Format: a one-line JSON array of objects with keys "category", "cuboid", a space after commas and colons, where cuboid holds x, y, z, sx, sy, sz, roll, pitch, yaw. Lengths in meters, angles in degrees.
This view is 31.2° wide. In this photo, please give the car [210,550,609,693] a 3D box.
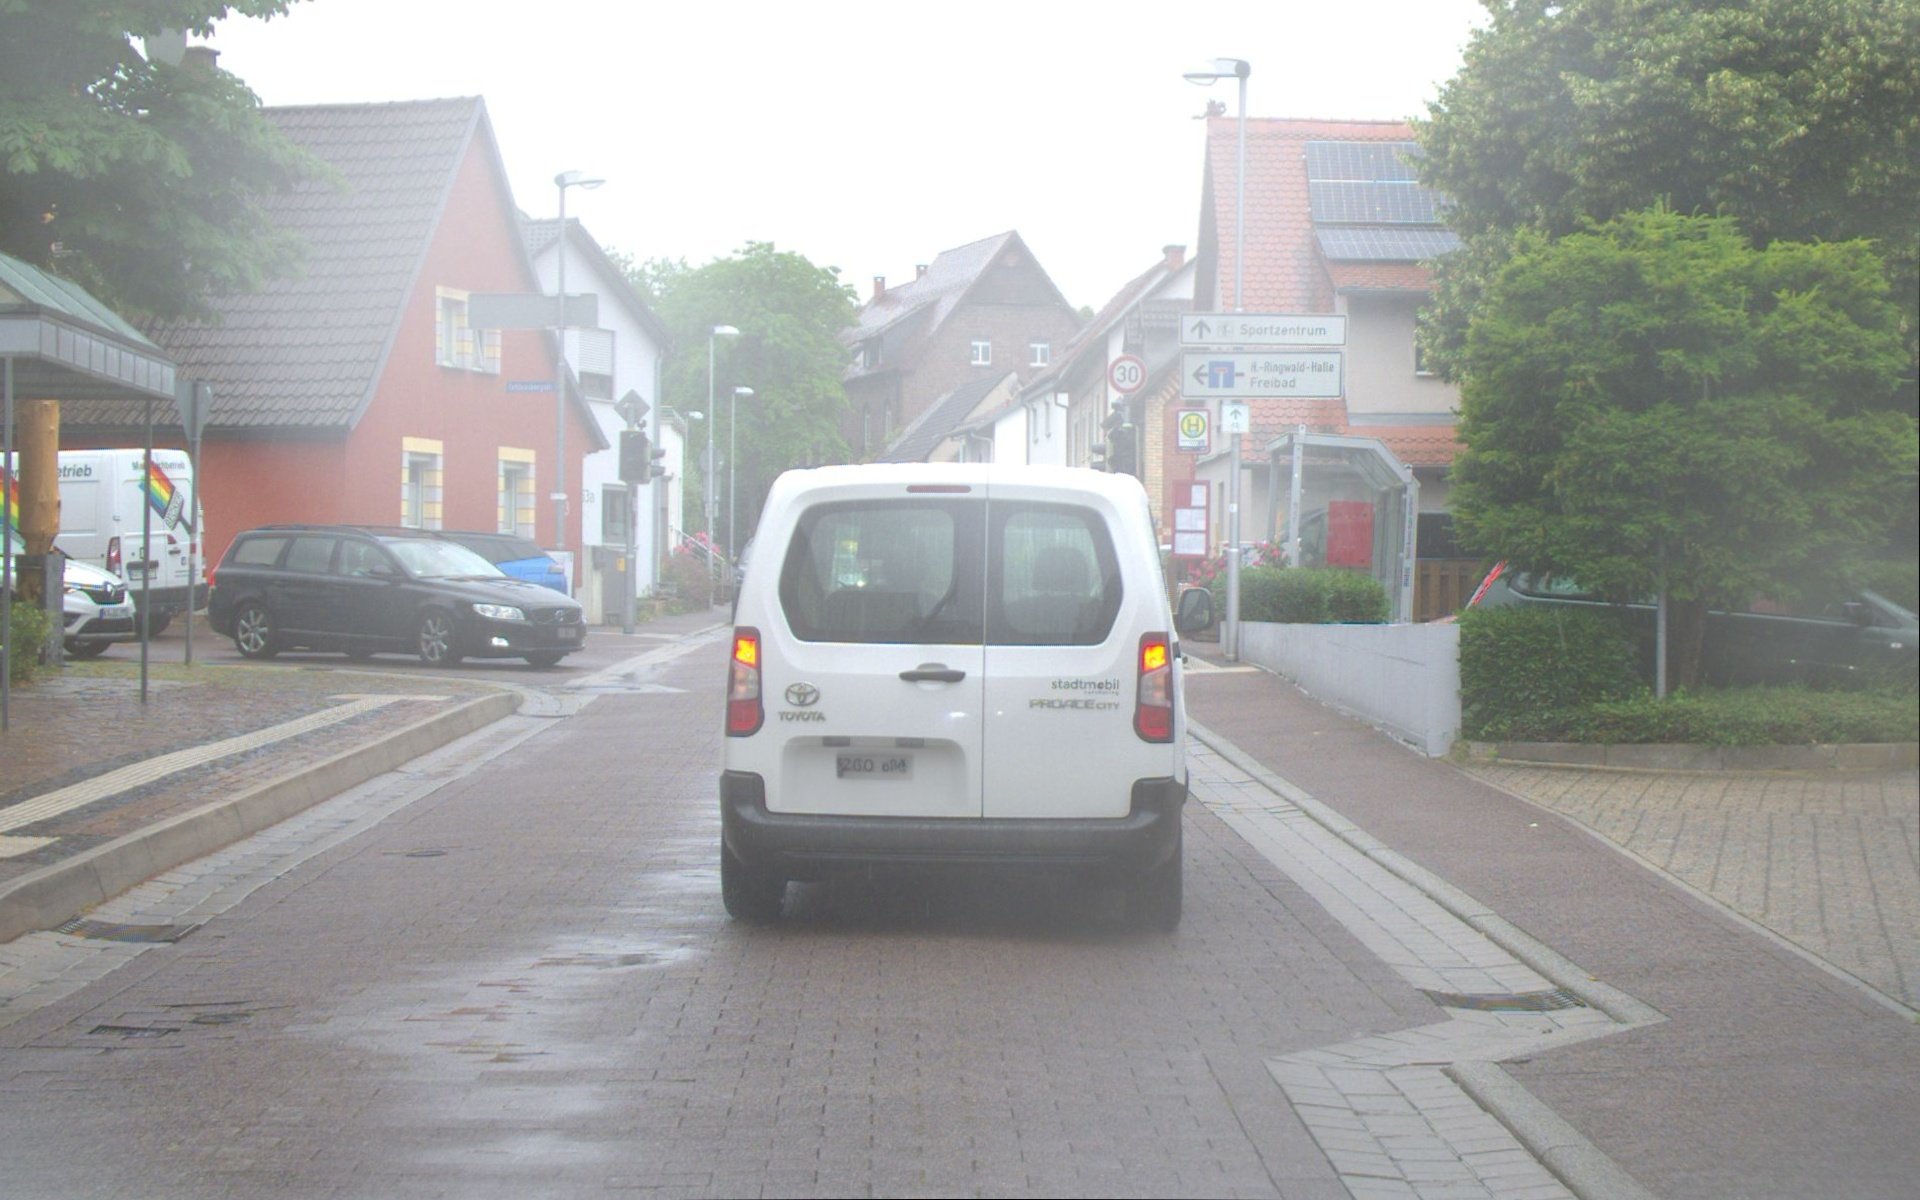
[{"category": "car", "cuboid": [-6.085, 0.193, 37.802, 4.309, 1.472, 1.846, 1, 2, 37]}]

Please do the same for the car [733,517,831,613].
[{"category": "car", "cuboid": [-3.406, -0.692, 65.984, 1.812, 1.773, 4.018, 0, 1, -3]}]

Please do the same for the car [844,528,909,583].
[{"category": "car", "cuboid": [-2.769, -1.477, 113.337, 1.993, 1.741, 4.001, 1, 1, -3]}]

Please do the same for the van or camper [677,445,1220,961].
[{"category": "van or camper", "cuboid": [-0.108, 0.343, 14.555, 1.943, 1.845, 4.000, 1, 1, -2]}]

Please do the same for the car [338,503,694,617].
[{"category": "car", "cuboid": [-5.648, -0.480, 43.883, 3.988, 1.368, 2.110, 0, -1, -38]}]

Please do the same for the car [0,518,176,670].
[{"category": "car", "cuboid": [-11.125, -0.140, 38.005, 4.450, 1.544, 1.881, 3, 2, 20]}]

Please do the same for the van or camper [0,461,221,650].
[{"category": "van or camper", "cuboid": [-12.696, -0.619, 46.143, 5.149, 2.427, 2.208, 1, 1, 25]}]

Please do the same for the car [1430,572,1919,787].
[{"category": "car", "cuboid": [5.720, 0.564, 25.537, 4.231, 1.475, 1.694, 1, 0, 15]}]
